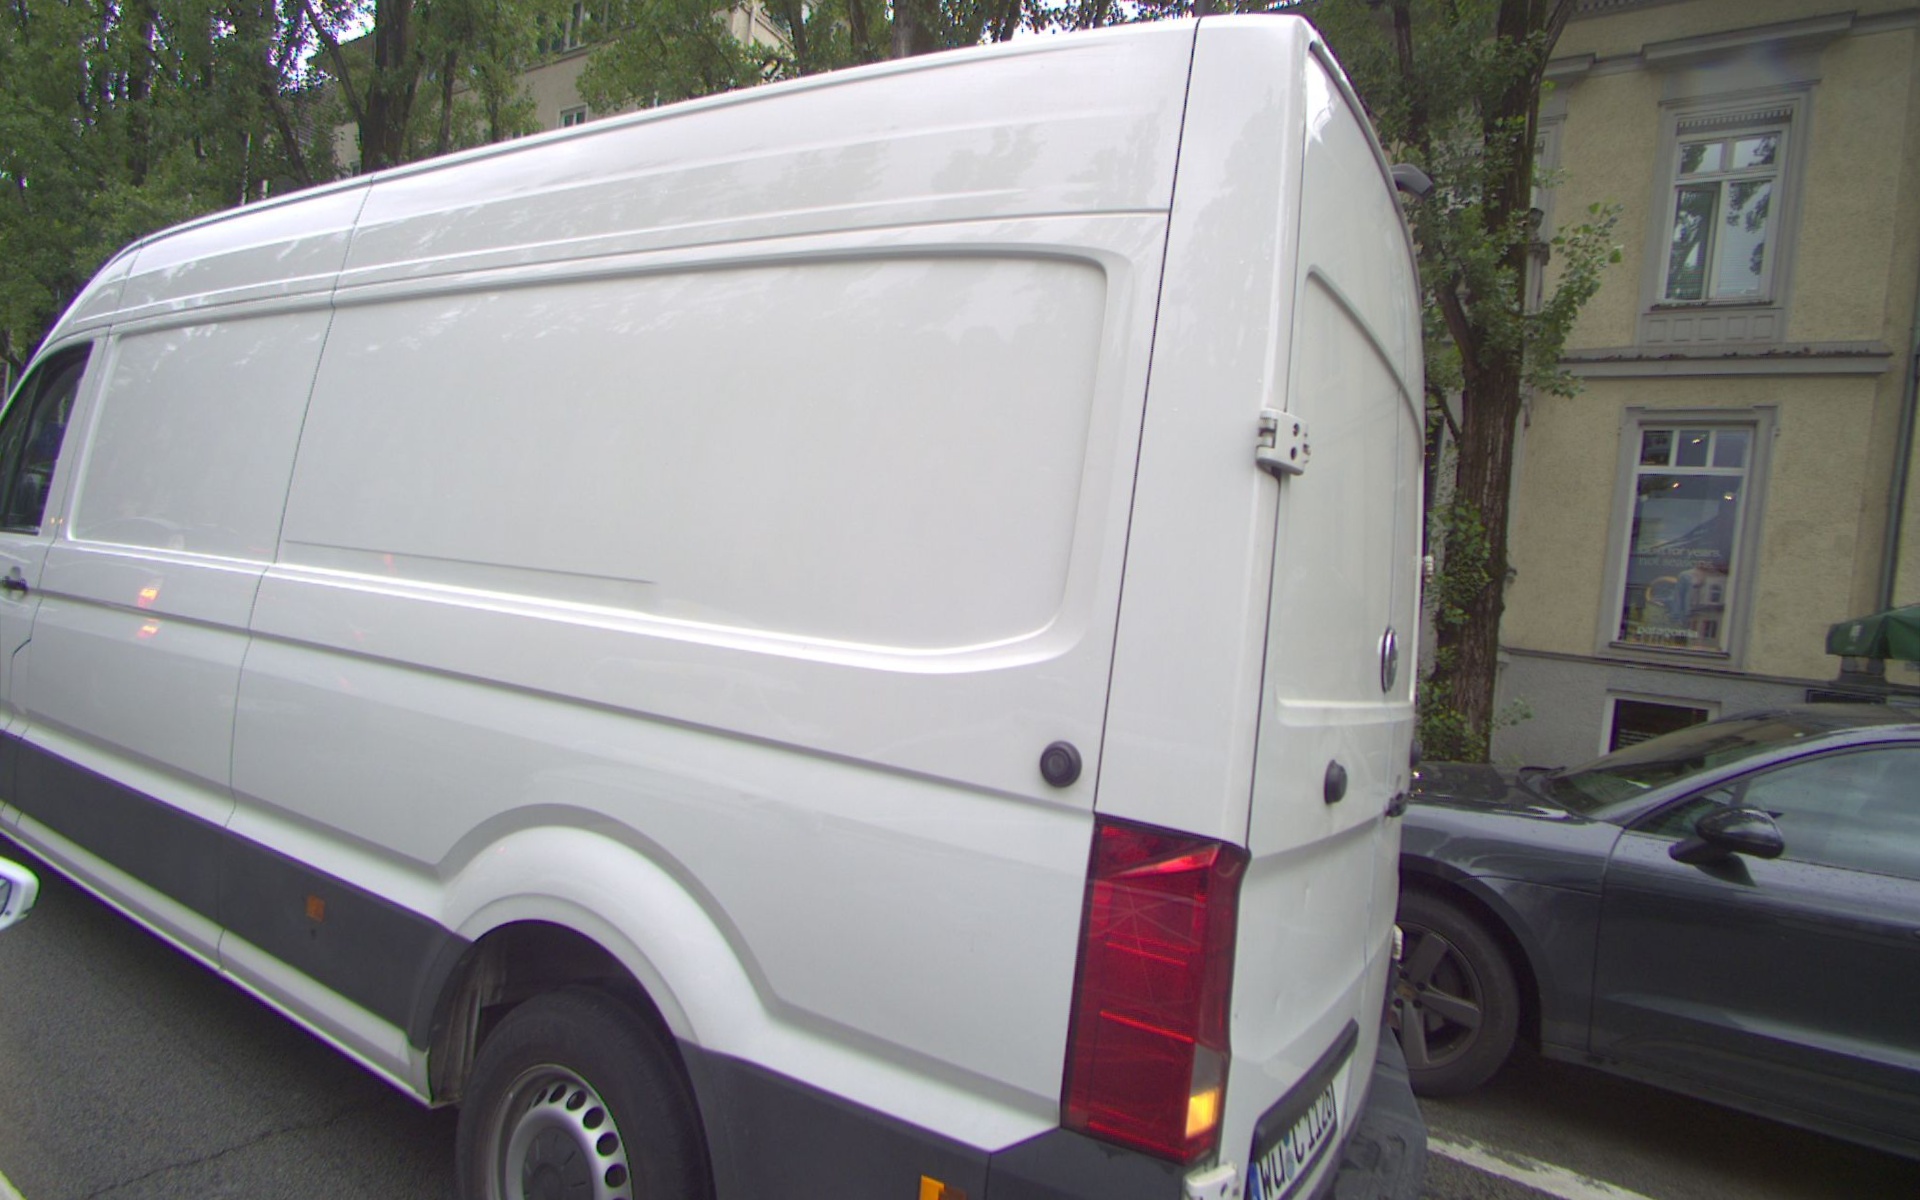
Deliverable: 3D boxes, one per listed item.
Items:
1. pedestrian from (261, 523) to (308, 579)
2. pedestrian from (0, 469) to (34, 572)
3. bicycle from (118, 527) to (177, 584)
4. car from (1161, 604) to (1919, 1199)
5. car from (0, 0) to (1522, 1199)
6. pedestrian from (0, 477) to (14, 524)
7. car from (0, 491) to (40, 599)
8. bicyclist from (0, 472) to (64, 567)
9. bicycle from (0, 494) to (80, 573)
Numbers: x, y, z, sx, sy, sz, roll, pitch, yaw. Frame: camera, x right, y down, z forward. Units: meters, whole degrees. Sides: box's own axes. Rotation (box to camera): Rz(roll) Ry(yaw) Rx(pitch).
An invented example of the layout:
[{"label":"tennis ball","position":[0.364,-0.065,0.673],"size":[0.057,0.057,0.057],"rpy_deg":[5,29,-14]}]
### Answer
[{"label":"pedestrian","position":[-17.548,-1.273,26.148],"size":[0.787,1.340,0.639],"rpy_deg":[7,1,31]},{"label":"pedestrian","position":[-17.469,-1.472,18.183],"size":[0.857,1.795,0.827],"rpy_deg":[7,1,38]},{"label":"bicycle","position":[-16.283,-0.899,20.163],"size":[1.429,1.009,0.349],"rpy_deg":[6,2,28]},{"label":"car","position":[3.224,1.138,3.738],"size":[4.372,1.657,1.807],"rpy_deg":[7,-1,30]},{"label":"car","position":[-1.922,0.056,3.655],"size":[6.619,2.522,2.066],"rpy_deg":[7,0,32]},{"label":"pedestrian","position":[-35.688,-3.711,37.255],"size":[0.745,1.707,0.674],"rpy_deg":[6,1,27]},{"label":"car","position":[-15.353,-0.991,14.940],"size":[3.465,1.510,1.543],"rpy_deg":[7,-1,32]},{"label":"bicyclist","position":[-18.824,-1.620,20.298],"size":[0.870,1.788,0.768],"rpy_deg":[7,1,31]},{"label":"bicycle","position":[-18.718,-1.363,20.222],"size":[2.408,1.366,0.773],"rpy_deg":[7,1,31]}]
